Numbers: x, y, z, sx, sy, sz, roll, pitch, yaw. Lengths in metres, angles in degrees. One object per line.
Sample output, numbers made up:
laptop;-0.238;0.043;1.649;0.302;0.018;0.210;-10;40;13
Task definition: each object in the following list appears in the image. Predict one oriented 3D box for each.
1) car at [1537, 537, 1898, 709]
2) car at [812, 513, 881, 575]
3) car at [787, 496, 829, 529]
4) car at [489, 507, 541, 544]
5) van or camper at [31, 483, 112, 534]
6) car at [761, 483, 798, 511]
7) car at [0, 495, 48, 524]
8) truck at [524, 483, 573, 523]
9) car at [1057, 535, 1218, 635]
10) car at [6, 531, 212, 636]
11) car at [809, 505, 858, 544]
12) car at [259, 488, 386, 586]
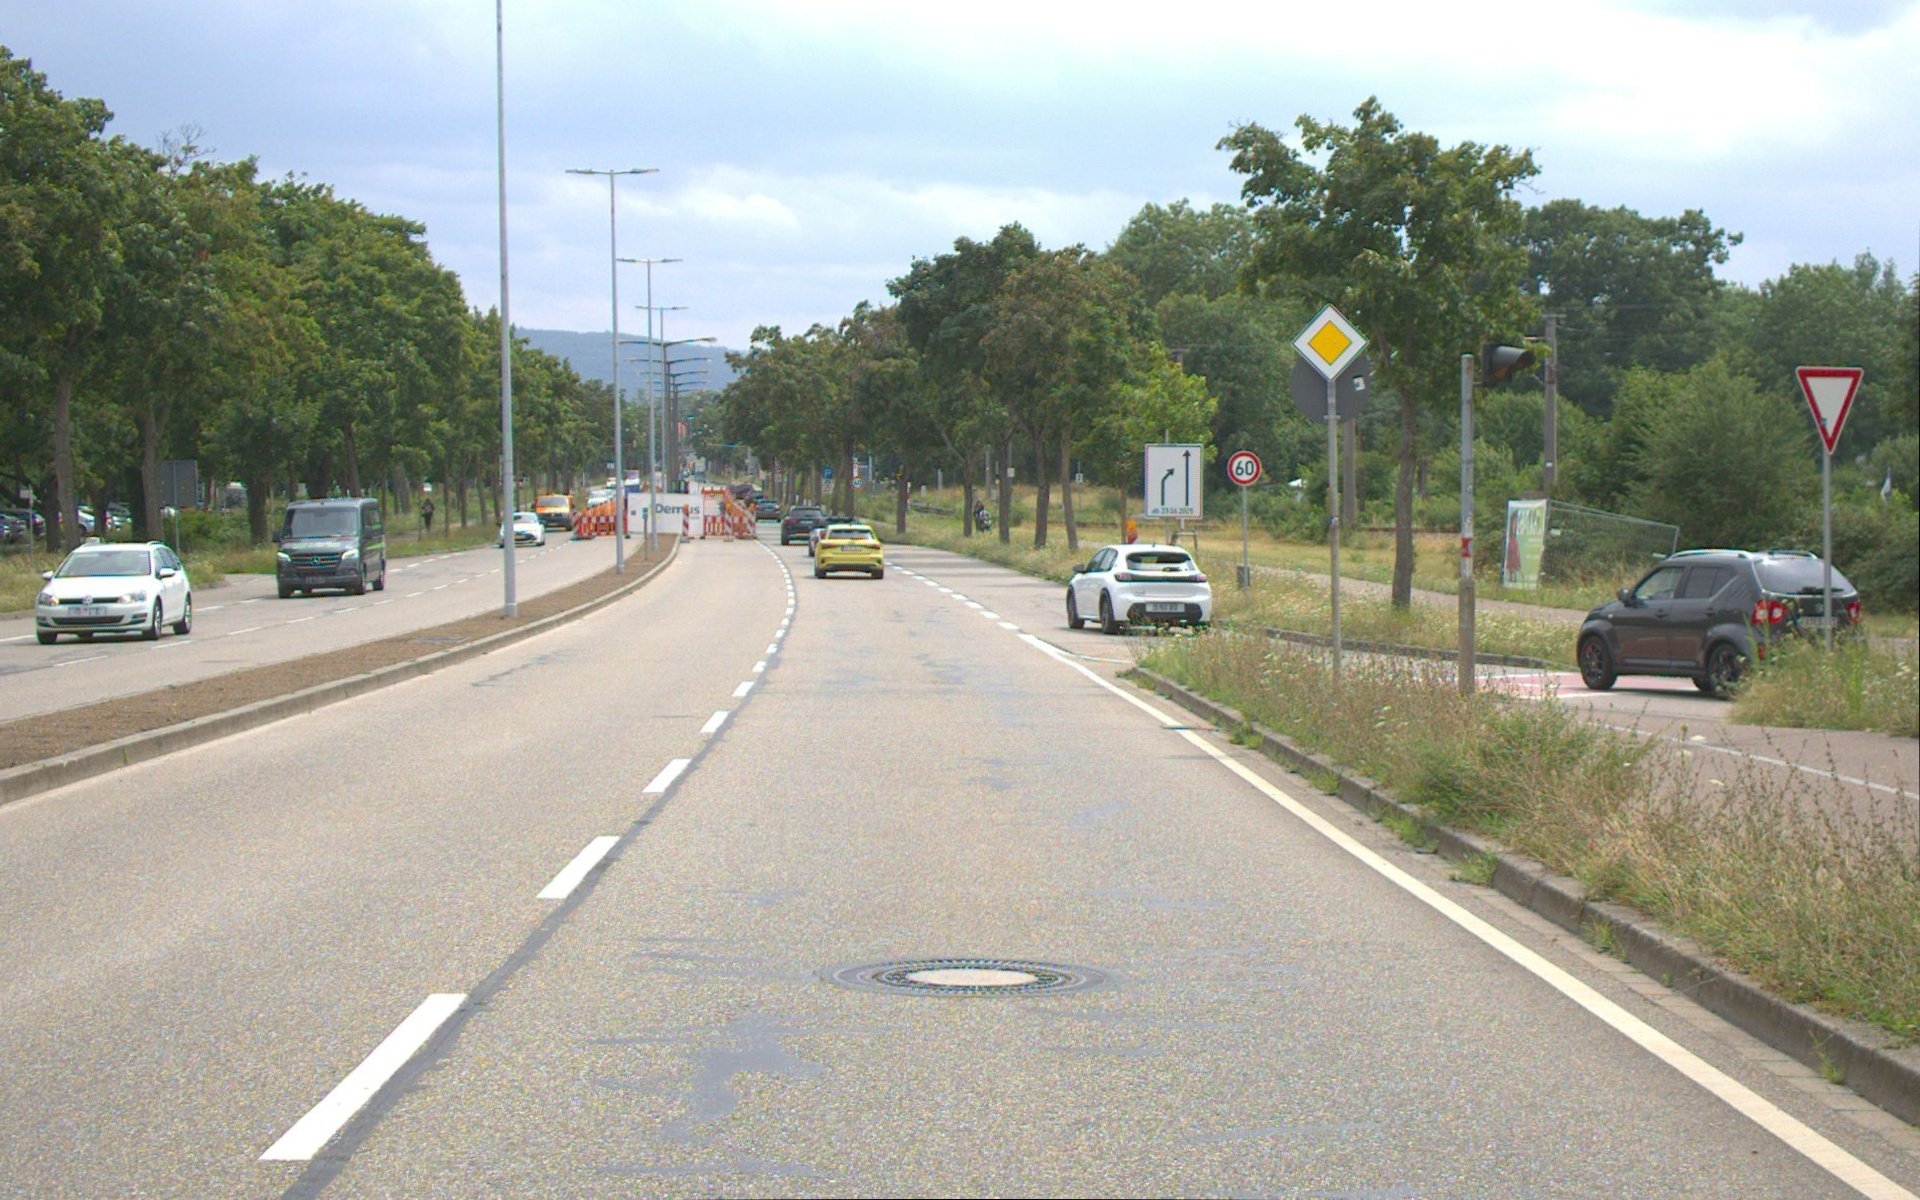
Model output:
car;8.163;0.203;37.392;1.703;1.662;4.001;0;2;-25
car;-3.046;-1.520;92.035;1.793;1.556;4.001;0;2;-2
car;-6.242;-3.602;141.437;1.667;1.265;4.001;0;2;-2
car;-18.553;-3.126;143.525;1.716;1.415;4.161;-2;2;-2
van or camper;-48.506;-5.018;187.792;3.986;2.747;1.927;0;2;-3
car;-11.315;-6.445;215.288;2.206;1.678;4.001;0;2;-1
car;-47.674;-4.519;171.662;3.772;1.421;1.966;0;2;-1
truck;-21.792;-5.146;182.183;2.088;1.987;6.040;-2;2;-3
car;2.860;-0.273;56.122;1.766;1.459;4.002;0;2;-10
car;-12.902;-0.288;52.415;1.993;1.426;4.689;-1;2;-1
car;-4.365;-2.611;118.772;1.667;1.265;4.001;0;2;-2
car;-15.065;-1.538;81.526;2.095;2.193;6.005;-1;2;-3
